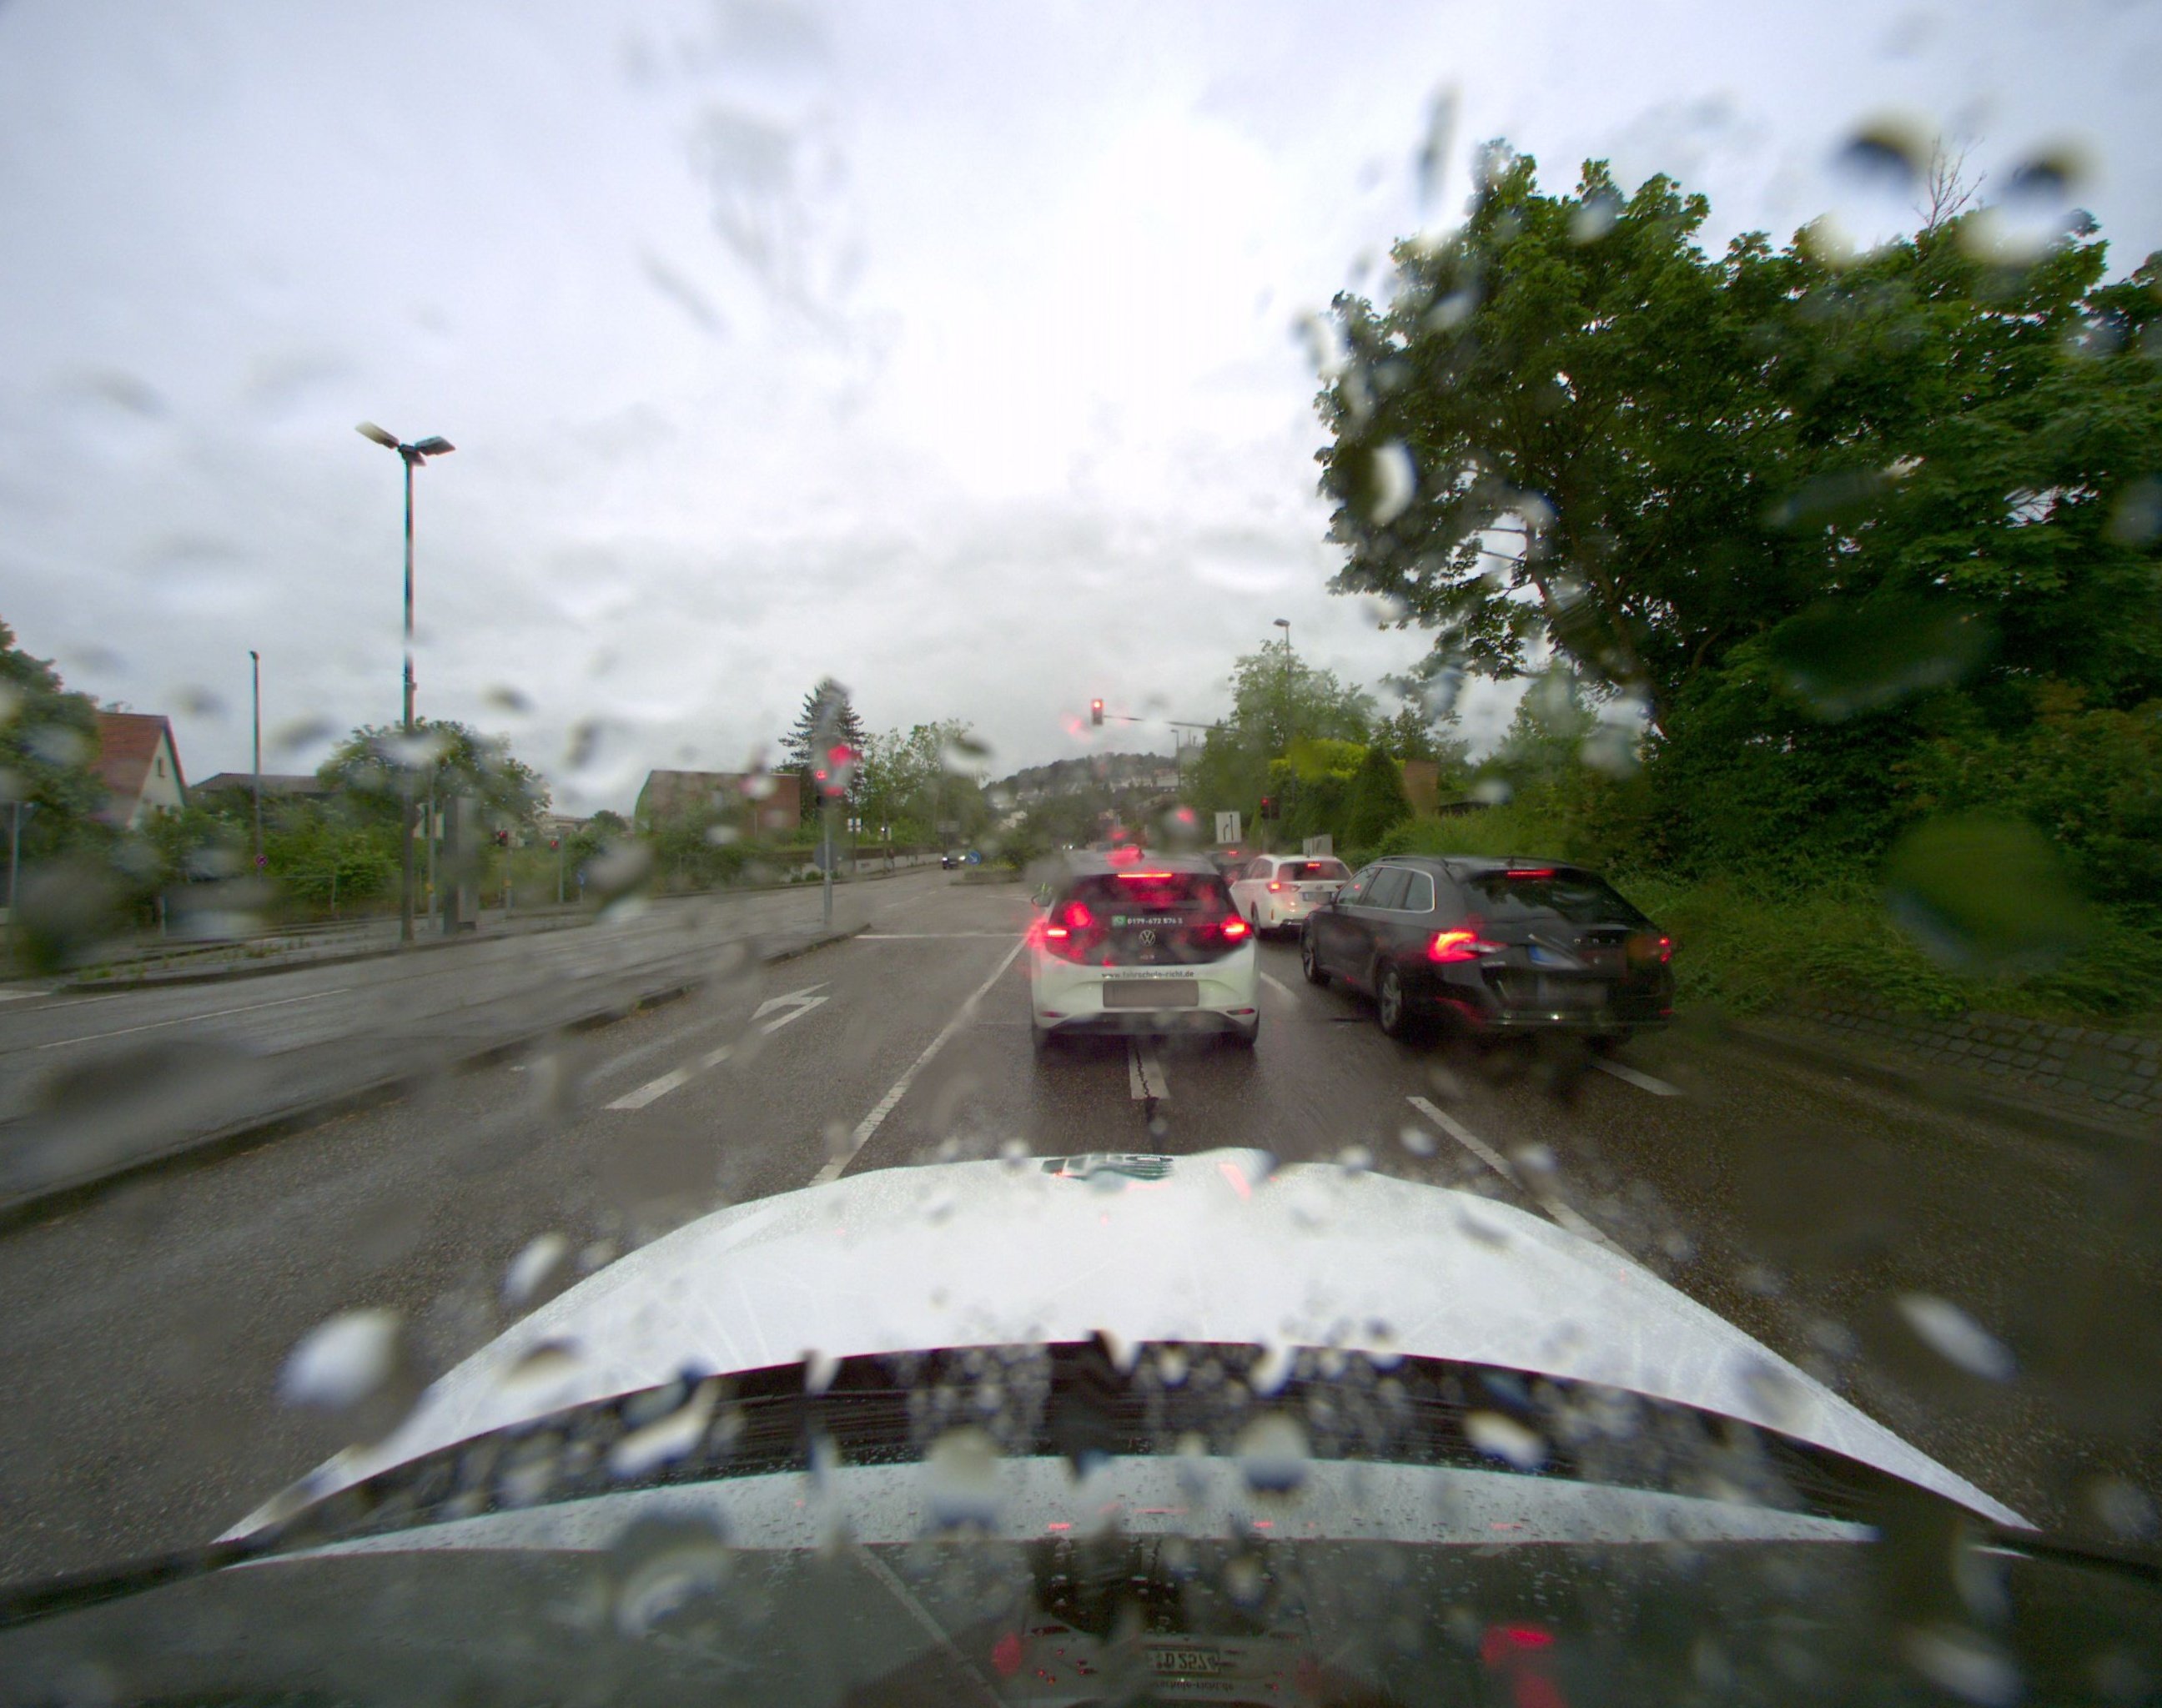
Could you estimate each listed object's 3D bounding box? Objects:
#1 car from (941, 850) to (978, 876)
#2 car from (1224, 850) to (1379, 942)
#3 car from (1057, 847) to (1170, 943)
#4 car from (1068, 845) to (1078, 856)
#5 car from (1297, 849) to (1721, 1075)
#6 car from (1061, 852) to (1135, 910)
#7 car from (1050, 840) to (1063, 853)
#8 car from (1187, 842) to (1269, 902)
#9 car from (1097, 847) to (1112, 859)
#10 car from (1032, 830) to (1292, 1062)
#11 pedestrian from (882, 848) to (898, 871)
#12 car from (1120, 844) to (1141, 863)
[{"bbox_3d":[-9.431,0.659,63.514,1.986,1.804,4.002,-4,0,2],"label":"car"},{"bbox_3d":[3.875,0.656,15.015,1.831,1.466,4.118,0,0,1],"label":"car"},{"bbox_3d":[0.578,0.651,15.311,1.831,1.555,4.176,0,0,1],"label":"car"},{"bbox_3d":[-1.599,-0.689,164.922,1.986,2.014,4.002,-1,-1,2],"label":"car"},{"bbox_3d":[3.368,0.684,7.498,1.830,1.466,4.353,0,0,3],"label":"car"},{"bbox_3d":[0.453,0.668,22.074,1.831,1.400,3.832,0,0,1],"label":"car"},{"bbox_3d":[-4.186,-1.254,140.449,1.986,2.014,4.002,-1,-1,2],"label":"car"},{"bbox_3d":[4.115,0.490,23.384,1.769,1.581,4.002,0,0,2],"label":"car"},{"bbox_3d":[2.902,-0.168,101.172,1.755,1.418,3.748,-3,0,0],"label":"car"},{"bbox_3d":[0.620,0.632,8.048,1.831,1.629,4.617,0,0,1],"label":"car"},{"bbox_3d":[-13.401,0.369,57.159,0.757,1.568,0.825,-4,0,1],"label":"pedestrian"},{"bbox_3d":[4.219,-0.029,69.501,1.575,1.467,4.000,-3,-1,1],"label":"car"}]
